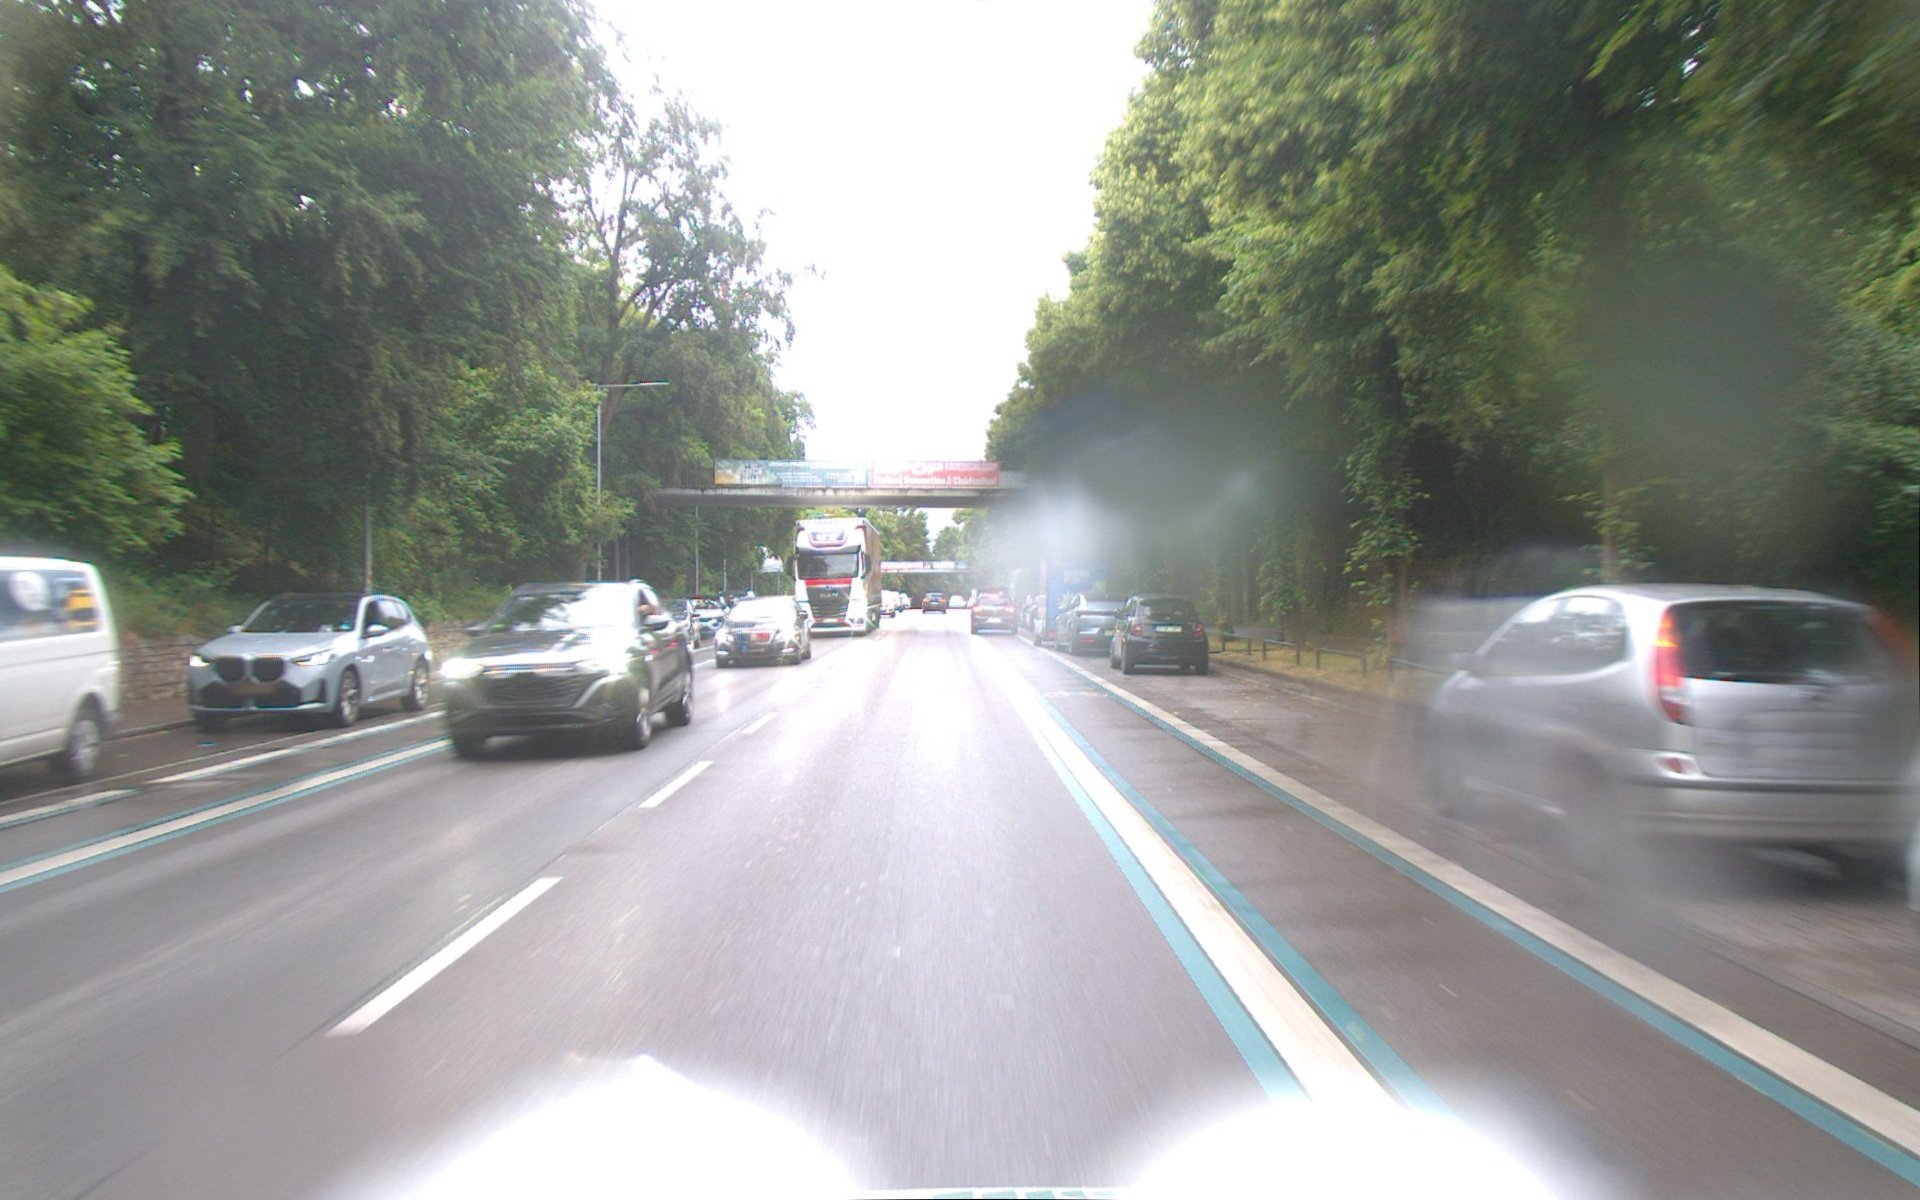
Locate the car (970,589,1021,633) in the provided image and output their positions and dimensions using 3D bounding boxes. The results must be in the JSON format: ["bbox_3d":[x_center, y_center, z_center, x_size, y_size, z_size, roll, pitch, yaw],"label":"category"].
[{"bbox_3d":[1.300,0.378,61.427,1.781,1.534,4.139,-1,0,0],"label":"car"}]

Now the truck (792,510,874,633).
[{"bbox_3d":[-4.473,-0.986,59.066,2.466,4.117,4.915,-2,0,-1],"label":"truck"}]

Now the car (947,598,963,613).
[{"bbox_3d":[-0.569,0.610,179.329,1.696,1.611,4.035,-1,0,-1],"label":"car"}]

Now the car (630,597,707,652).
[{"bbox_3d":[-8.630,0.707,49.262,1.795,1.502,4.037,-1,1,-4],"label":"car"}]

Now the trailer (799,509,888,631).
[{"bbox_3d":[-4.534,-1.122,66.802,2.633,4.333,12.767,-3,0,-1],"label":"trailer"}]

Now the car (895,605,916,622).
[{"bbox_3d":[-5.292,1.265,160.068,1.882,1.588,4.620,1,0,-1],"label":"car"}]

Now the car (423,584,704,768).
[{"bbox_3d":[-3.987,0.687,17.420,1.921,1.645,4.465,-1,0,-1],"label":"car"}]

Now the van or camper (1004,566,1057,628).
[{"bbox_3d":[3.316,-0.159,79.403,2.001,2.777,6.898,1,0,-2],"label":"van or camper"}]

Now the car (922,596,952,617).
[{"bbox_3d":[-1.731,0.469,121.965,2.097,1.518,4.496,0,0,-3],"label":"car"}]

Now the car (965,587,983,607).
[{"bbox_3d":[1.510,-0.295,178.871,1.850,2.164,4.045,-1,0,0],"label":"car"}]

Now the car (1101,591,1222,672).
[{"bbox_3d":[4.009,0.588,33.585,1.788,1.529,4.570,0,0,-1],"label":"car"}]

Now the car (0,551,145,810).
[{"bbox_3d":[-8.530,0.624,13.195,1.935,2.040,5.013,1,1,-5],"label":"car"}]

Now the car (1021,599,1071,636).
[{"bbox_3d":[3.429,0.667,66.473,1.652,1.441,4.195,0,0,-2],"label":"car"}]

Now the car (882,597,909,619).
[{"bbox_3d":[-5.133,0.643,131.960,1.925,1.656,4.321,-1,0,1],"label":"car"}]

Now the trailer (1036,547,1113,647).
[{"bbox_3d":[3.322,-0.090,48.474,1.913,2.807,4.006,0,0,-1],"label":"trailer"}]

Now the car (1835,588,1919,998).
[{"bbox_3d":[4.455,0.748,4.588,1.663,1.540,4.469,1,0,0],"label":"car"}]

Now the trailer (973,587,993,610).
[{"bbox_3d":[2.225,-0.130,162.151,1.845,2.204,3.807,-1,0,0],"label":"trailer"}]

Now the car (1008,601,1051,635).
[{"bbox_3d":[3.024,0.775,72.329,1.651,1.441,4.099,0,0,-1],"label":"car"}]

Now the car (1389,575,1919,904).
[{"bbox_3d":[4.278,0.686,10.621,1.718,1.624,4.739,1,0,-1],"label":"car"}]

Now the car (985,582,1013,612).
[{"bbox_3d":[2.785,-0.205,118.986,1.887,2.057,4.663,1,0,-1],"label":"car"}]

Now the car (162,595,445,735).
[{"bbox_3d":[-8.572,0.767,22.120,1.969,1.633,4.778,-1,0,-2],"label":"car"}]

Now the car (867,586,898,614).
[{"bbox_3d":[-4.814,0.008,103.324,1.797,1.695,4.179,0,0,-1],"label":"car"}]

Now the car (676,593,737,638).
[{"bbox_3d":[-9.137,0.531,59.945,1.654,1.573,4.231,-1,0,-2],"label":"car"}]

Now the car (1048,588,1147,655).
[{"bbox_3d":[3.474,0.499,42.521,1.862,1.574,4.752,1,0,-3],"label":"car"}]

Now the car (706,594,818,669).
[{"bbox_3d":[-4.314,0.653,36.643,1.876,1.482,4.620,-2,0,0],"label":"car"}]
